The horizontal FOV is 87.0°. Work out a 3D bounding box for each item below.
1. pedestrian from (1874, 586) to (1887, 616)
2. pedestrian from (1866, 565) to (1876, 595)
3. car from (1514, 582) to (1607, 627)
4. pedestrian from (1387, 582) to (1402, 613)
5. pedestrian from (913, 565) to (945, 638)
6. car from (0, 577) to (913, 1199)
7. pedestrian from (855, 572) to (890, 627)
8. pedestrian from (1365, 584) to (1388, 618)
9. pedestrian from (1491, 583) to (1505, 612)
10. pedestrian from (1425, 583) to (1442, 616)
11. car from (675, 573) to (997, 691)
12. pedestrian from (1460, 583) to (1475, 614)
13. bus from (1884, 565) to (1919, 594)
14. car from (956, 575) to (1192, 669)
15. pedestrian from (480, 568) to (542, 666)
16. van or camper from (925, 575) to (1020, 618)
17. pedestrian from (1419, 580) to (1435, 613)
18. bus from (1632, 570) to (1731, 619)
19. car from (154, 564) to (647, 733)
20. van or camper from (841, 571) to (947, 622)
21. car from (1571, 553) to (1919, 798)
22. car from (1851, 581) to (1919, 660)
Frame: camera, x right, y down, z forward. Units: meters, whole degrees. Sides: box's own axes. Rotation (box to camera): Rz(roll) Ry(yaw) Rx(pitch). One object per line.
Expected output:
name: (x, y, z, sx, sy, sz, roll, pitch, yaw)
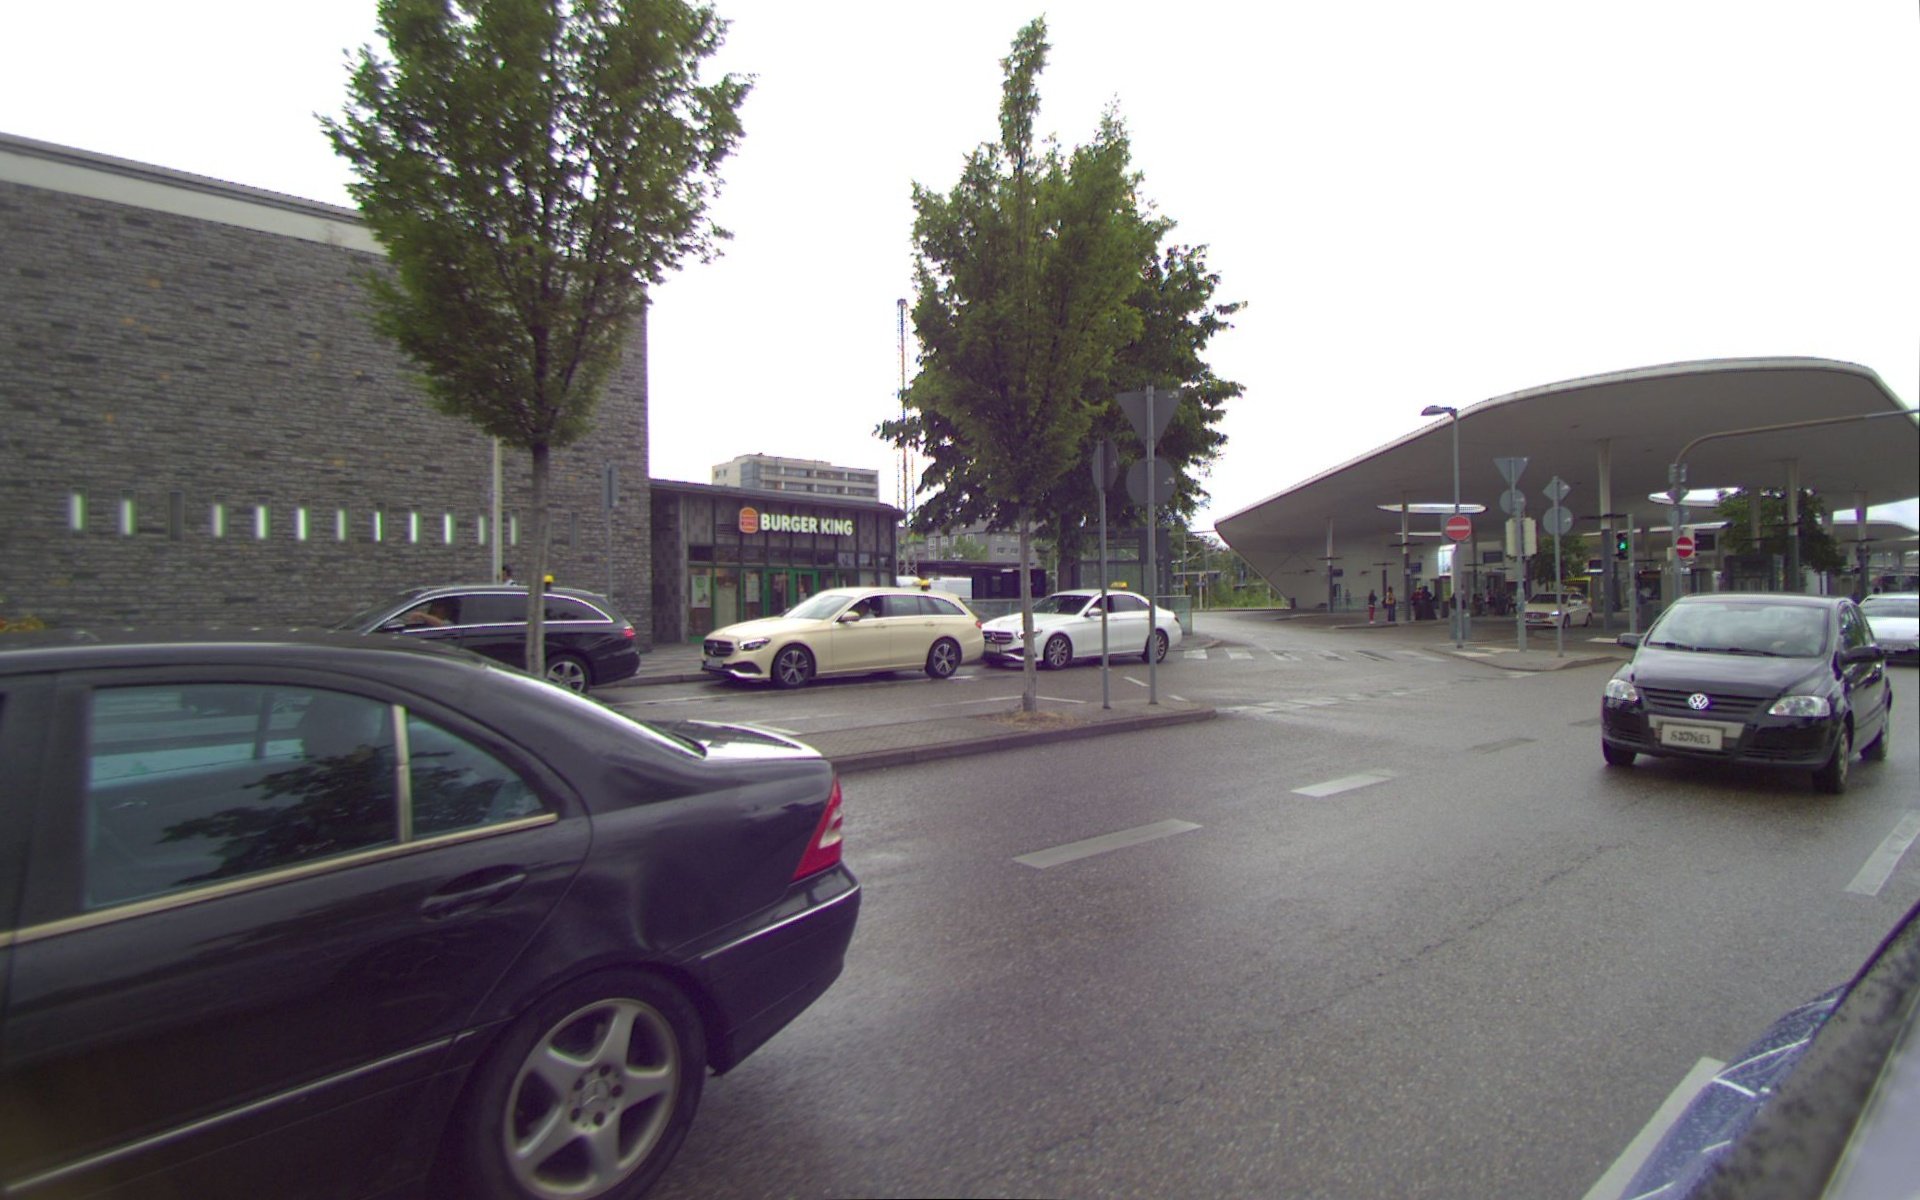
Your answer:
pedestrian: (54.394, 0.051, 59.787, 0.442, 1.786, 0.532, 0, 0, 29)
pedestrian: (54.248, -1.208, 60.288, 0.444, 1.786, 0.529, 0, 0, 43)
car: (24.962, 0.151, 42.023, 4.463, 1.702, 1.997, -1, 2, -41)
pedestrian: (21.583, -0.141, 50.248, 0.469, 1.533, 0.536, 0, 0, -6)
pedestrian: (-0.937, 0.045, 30.902, 0.787, 2.191, 0.718, 1, 1, 19)
car: (-2.251, 0.713, 1.983, 1.695, 1.484, 4.382, 2, 2, 43)
pedestrian: (-2.589, -0.019, 30.063, 0.768, 1.599, 0.700, 2, 2, 42)
pedestrian: (20.015, 0.036, 48.632, 0.725, 1.615, 0.643, 0, 1, -26)
pedestrian: (28.548, -0.147, 53.727, 0.525, 1.533, 0.479, 0, 1, -37)
pedestrian: (22.218, -0.051, 47.468, 0.470, 1.533, 0.535, 0, 1, -36)
car: (-1.873, 0.405, 16.344, 4.871, 1.619, 1.998, 0, 2, -41)
pedestrian: (25.658, -0.082, 51.143, 0.525, 1.533, 0.479, 0, 1, -37)
bus: (106.050, -2.281, 113.204, 3.569, 3.137, 10.598, 1, 1, 40)
car: (2.350, 0.336, 20.032, 4.817, 1.619, 1.883, -1, 2, -41)
pedestrian: (-7.931, 0.281, 17.883, 0.640, 1.688, 0.770, 1, 1, 28)
van or camper: (0.783, -0.268, 59.993, 5.762, 2.463, 1.997, -1, 2, -41)
pedestrian: (22.353, -0.172, 48.408, 0.470, 1.533, 0.535, 0, 1, -36)
bus: (49.948, -0.428, 69.881, 11.713, 3.120, 2.875, 0, 2, -41)
car: (-6.478, 0.450, 12.104, 4.873, 1.620, 1.996, -1, 0, -42)
van or camper: (-3.498, -0.251, 52.862, 5.845, 2.463, 2.132, 2, 2, 43)
car: (7.284, 0.470, 9.187, 4.087, 1.723, 1.874, -1, 2, -42)
car: (20.744, 0.388, 22.059, 1.807, 1.578, 3.986, 2, 2, 44)
